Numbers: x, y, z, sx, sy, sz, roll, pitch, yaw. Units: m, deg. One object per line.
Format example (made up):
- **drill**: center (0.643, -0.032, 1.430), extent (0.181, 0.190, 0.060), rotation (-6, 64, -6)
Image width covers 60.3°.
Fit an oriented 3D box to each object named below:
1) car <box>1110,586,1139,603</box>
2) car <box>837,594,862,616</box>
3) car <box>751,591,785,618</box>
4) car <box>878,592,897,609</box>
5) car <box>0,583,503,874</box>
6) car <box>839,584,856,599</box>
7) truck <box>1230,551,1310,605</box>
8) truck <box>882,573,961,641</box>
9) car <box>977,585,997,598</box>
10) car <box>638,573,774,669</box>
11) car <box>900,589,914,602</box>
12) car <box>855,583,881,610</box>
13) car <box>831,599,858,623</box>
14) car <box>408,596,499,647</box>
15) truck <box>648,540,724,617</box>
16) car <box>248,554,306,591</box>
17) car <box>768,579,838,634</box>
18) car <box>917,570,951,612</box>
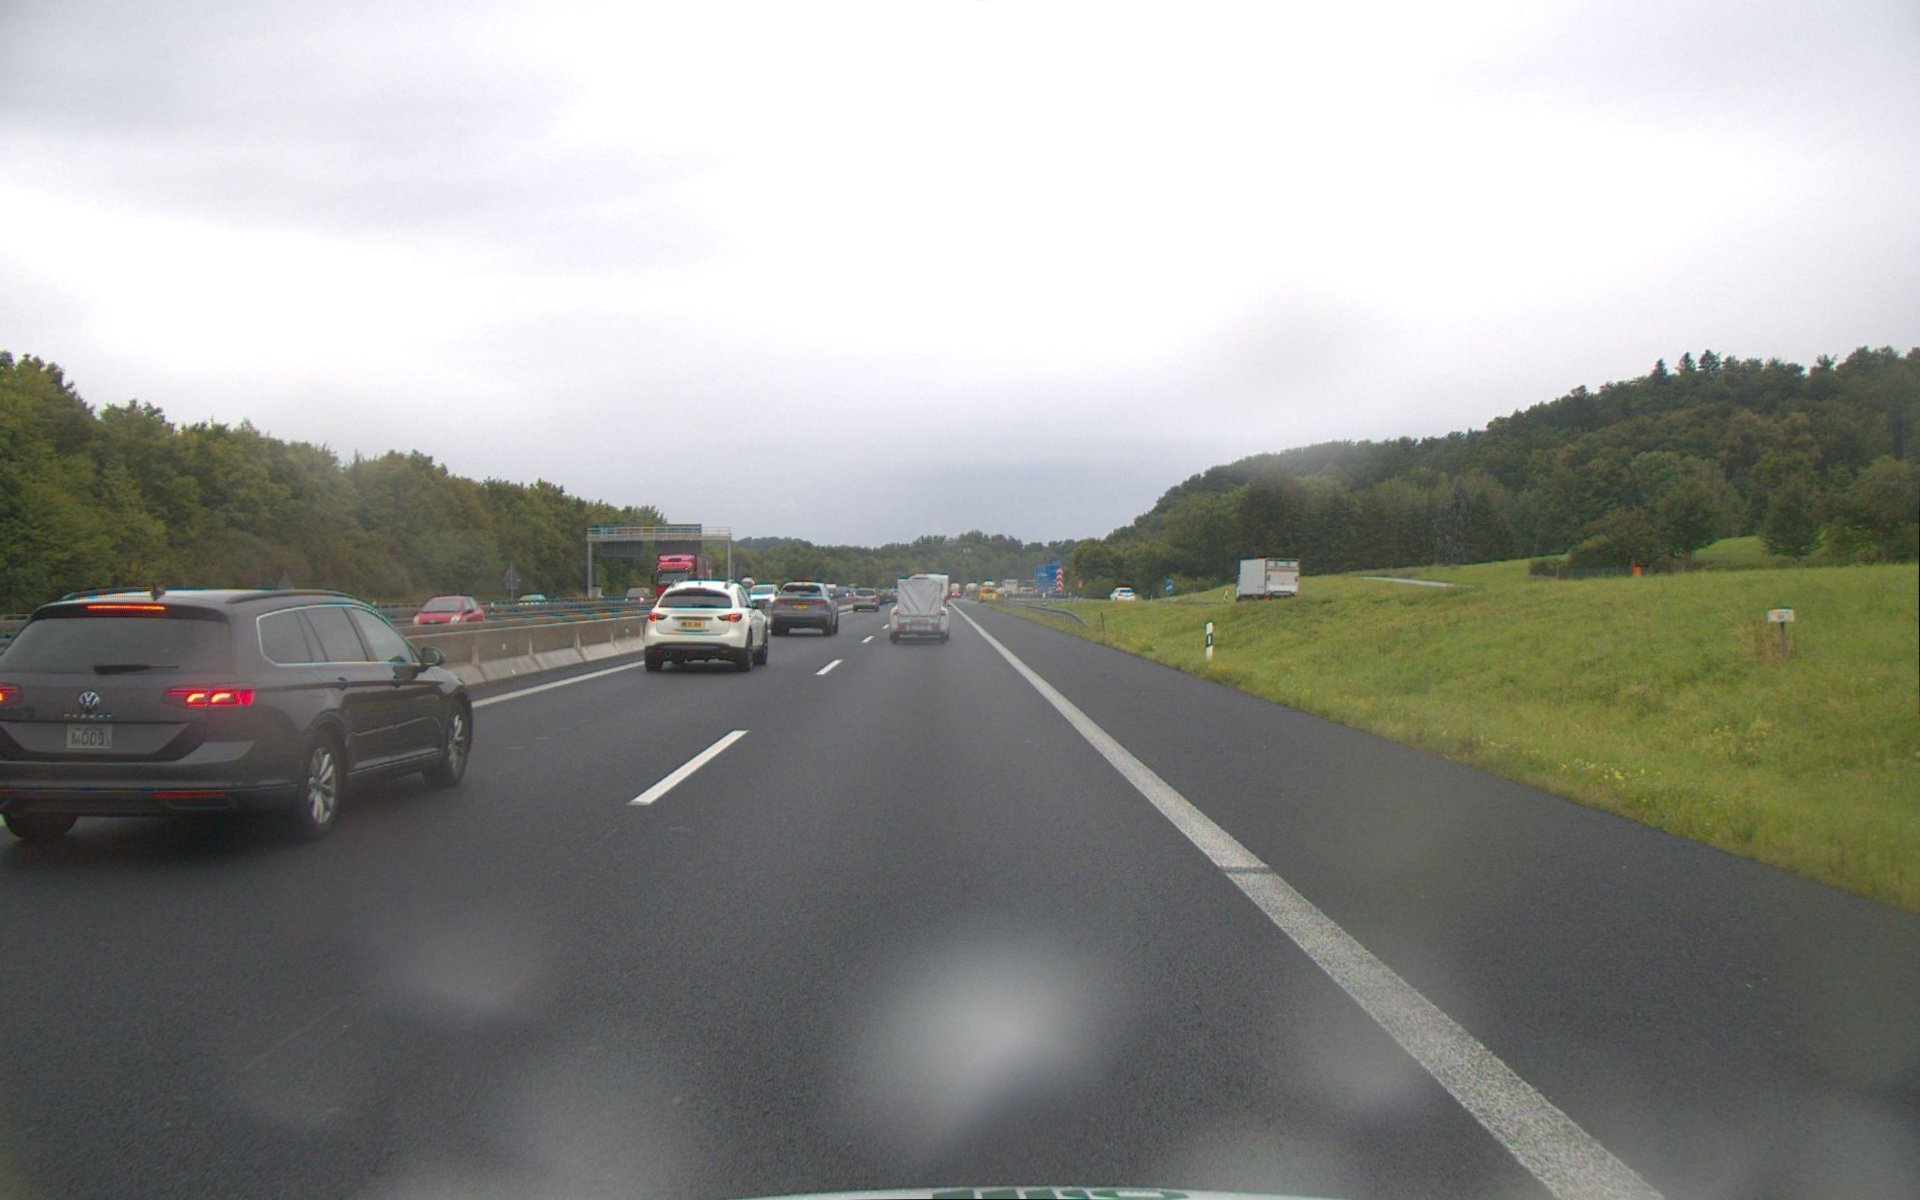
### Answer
- **car**: center (15.952, -0.506, 160.424), extent (1.955, 1.579, 3.995), rotation (1, 0, -6)
- **car**: center (-8.934, 0.396, 133.606), extent (1.782, 1.691, 4.016), rotation (0, 0, -1)
- **car**: center (-14.181, 0.344, 122.340), extent (1.953, 1.895, 5.219), rotation (-2, 0, -2)
- **car**: center (-7.040, 0.010, 160.959), extent (1.612, 1.601, 3.999), rotation (1, 0, -1)
- **car**: center (-4.544, 0.650, 10.934), extent (1.751, 1.484, 4.801), rotation (1, 0, -1)
- **car**: center (-14.622, -1.098, 215.156), extent (1.953, 1.868, 4.677), rotation (1, 0, -2)
- **truck**: center (22.870, -1.591, 122.449), extent (3.750, 3.723, 8.264), rotation (1, 0, -5)
- **truck**: center (-1.161, 0.164, 49.479), extent (2.197, 1.871, 6.582), rotation (1, 0, -2)
- **car**: center (3.375, -1.055, 205.769), extent (1.955, 1.579, 3.995), rotation (1, 0, -6)
- **car**: center (-4.776, 0.359, 31.733), extent (2.007, 1.699, 4.540), rotation (1, 0, -2)
- **car**: center (-6.482, -0.551, 202.881), extent (1.612, 1.601, 3.999), rotation (1, 0, -1)
- **car**: center (-6.478, -0.279, 116.908), extent (1.703, 1.825, 3.999), rotation (1, 0, -1)
- **car**: center (-8.581, 0.806, 123.516), extent (1.782, 1.691, 4.016), rotation (0, 0, -1)
- **car**: center (-16.760, 0.683, 54.951), extent (1.689, 1.580, 4.581), rotation (1, 0, -2)
- **truck**: center (-17.932, -1.377, 109.036), extent (3.330, 4.816, 10.484), rotation (1, 0, -1)
- **car**: center (-39.337, -1.563, 95.348), extent (1.714, 2.049, 4.000), rotation (0, 0, 0)
- **car**: center (-5.175, 0.199, 54.966), extent (1.936, 1.733, 4.801), rotation (1, 0, -1)
- **car**: center (-1.813, -0.638, 114.424), extent (2.284, 2.773, 6.538), rotation (0, 1, -2)
